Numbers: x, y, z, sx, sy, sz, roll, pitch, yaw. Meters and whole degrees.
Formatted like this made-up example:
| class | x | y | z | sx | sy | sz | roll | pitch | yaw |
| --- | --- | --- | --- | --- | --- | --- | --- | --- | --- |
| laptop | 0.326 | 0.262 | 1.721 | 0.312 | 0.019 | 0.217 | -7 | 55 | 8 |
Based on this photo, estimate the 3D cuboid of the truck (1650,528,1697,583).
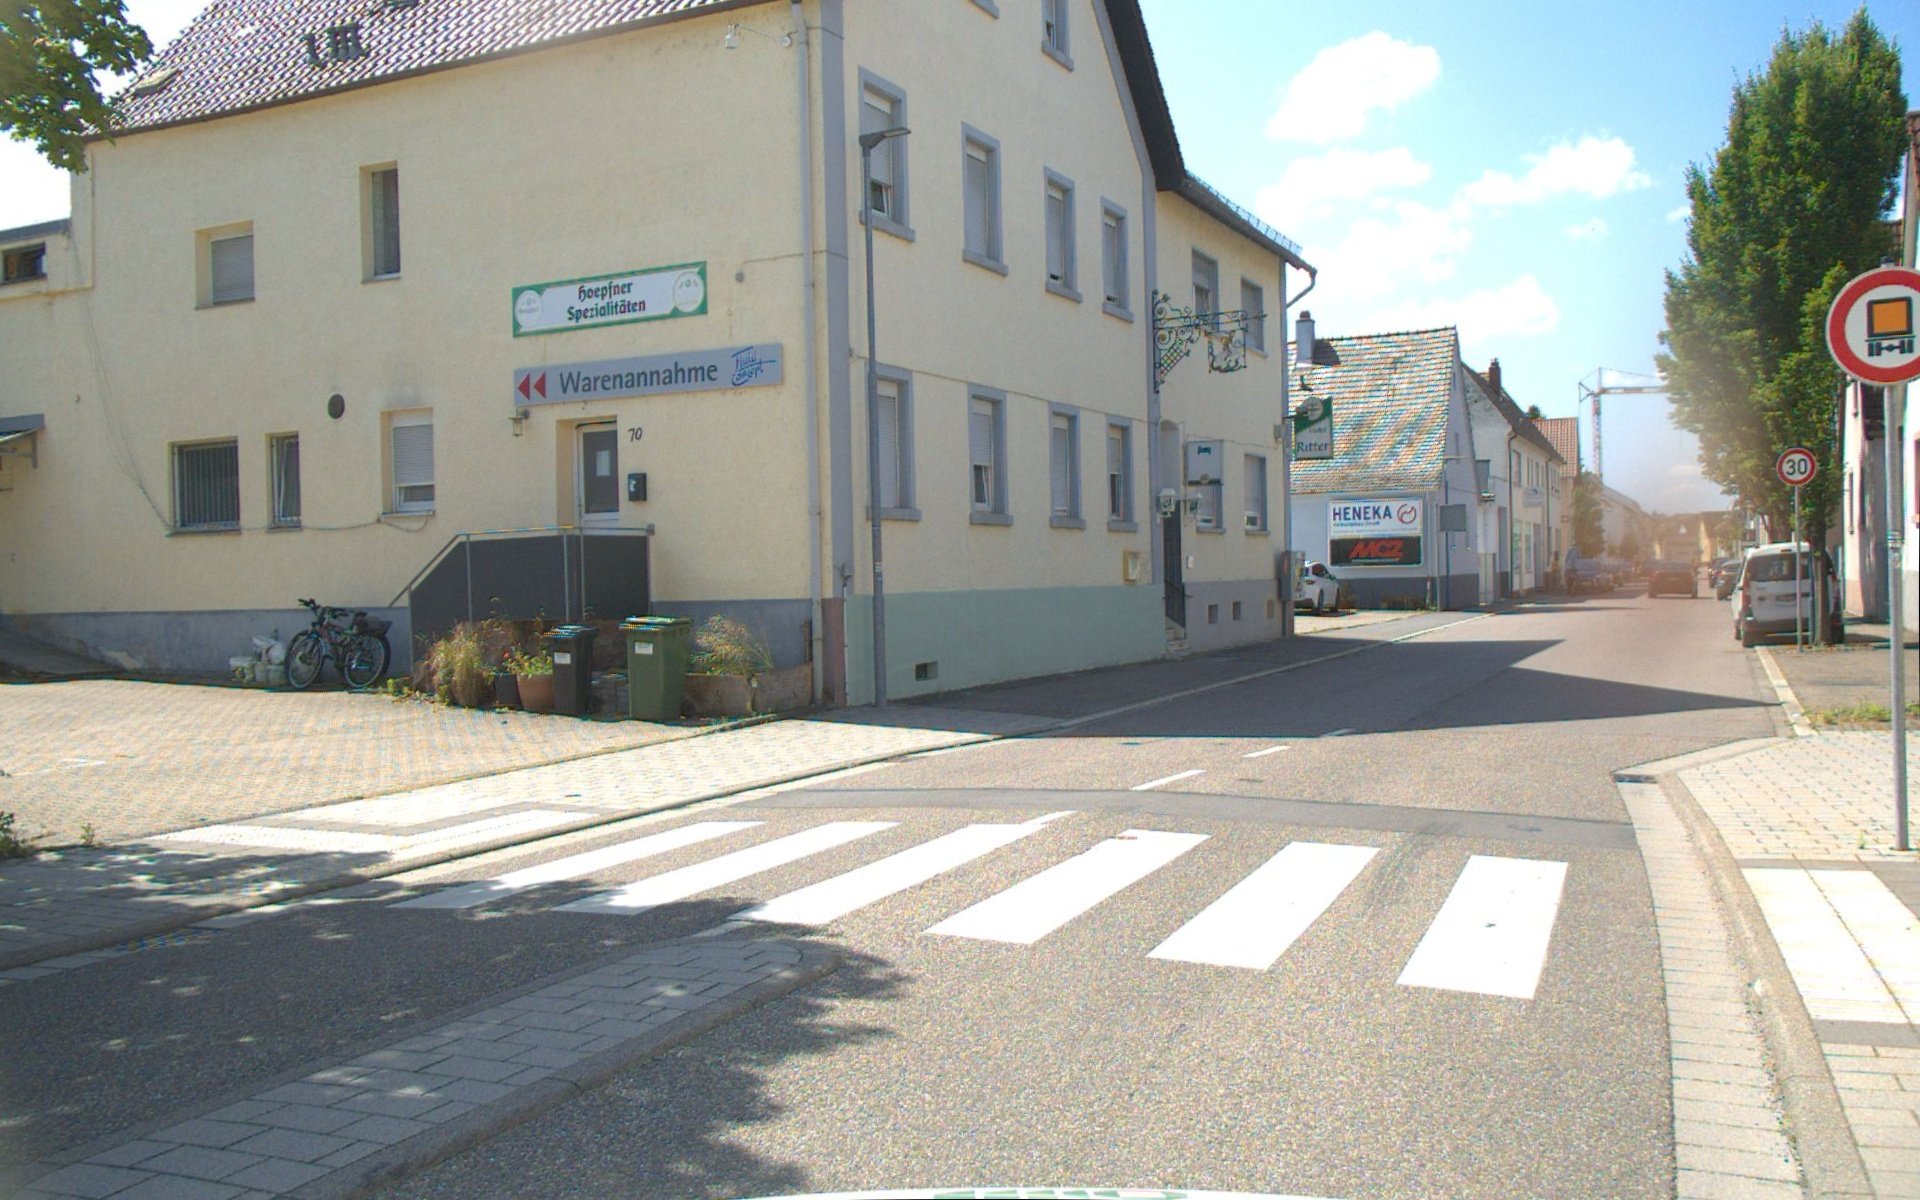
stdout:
| class | x | y | z | sx | sy | sz | roll | pitch | yaw |
| --- | --- | --- | --- | --- | --- | --- | --- | --- | --- |
| truck | 57.854 | -3.576 | 134.082 | 3.083 | 4.324 | 9.295 | 1 | 1 | 26 |

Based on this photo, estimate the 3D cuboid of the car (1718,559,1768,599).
| class | x | y | z | sx | sy | sz | roll | pitch | yaw |
| --- | --- | --- | --- | --- | --- | --- | --- | --- | --- |
| car | 30.677 | -0.834 | 64.754 | 1.686 | 1.487 | 4.153 | 0 | 1 | 26 |

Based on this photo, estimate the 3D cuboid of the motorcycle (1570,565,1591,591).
| class | x | y | z | sx | sy | sz | roll | pitch | yaw |
| --- | --- | --- | --- | --- | --- | --- | --- | --- | --- |
| motorcycle | 28.901 | -1.018 | 77.007 | 0.829 | 1.190 | 2.468 | 1 | 1 | 23 |

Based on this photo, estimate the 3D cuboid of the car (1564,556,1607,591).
| class | x | y | z | sx | sy | sz | roll | pitch | yaw |
| --- | --- | --- | --- | --- | --- | --- | --- | --- | --- |
| car | 30.468 | -1.292 | 80.499 | 1.773 | 1.616 | 3.999 | 0 | 1 | 24 |

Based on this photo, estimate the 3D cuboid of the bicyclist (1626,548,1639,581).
| class | x | y | z | sx | sy | sz | roll | pitch | yaw |
| --- | --- | --- | --- | --- | --- | --- | --- | --- | --- |
| bicyclist | 43.524 | -2.297 | 107.103 | 0.725 | 2.095 | 0.844 | 1 | 1 | 24 |

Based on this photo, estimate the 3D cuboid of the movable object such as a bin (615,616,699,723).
| class | x | y | z | sx | sy | sz | roll | pitch | yaw |
| --- | --- | --- | --- | --- | --- | --- | --- | --- | --- |
| movable object such as a bin | -3.224 | 0.731 | 17.621 | 0.588 | 1.097 | 0.658 | -1 | 1 | 27 |

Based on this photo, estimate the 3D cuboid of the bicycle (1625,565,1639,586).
| class | x | y | z | sx | sy | sz | roll | pitch | yaw |
| --- | --- | --- | --- | --- | --- | --- | --- | --- | --- |
| bicycle | 43.504 | -1.595 | 107.090 | 0.736 | 1.330 | 2.684 | 1 | 1 | 24 |

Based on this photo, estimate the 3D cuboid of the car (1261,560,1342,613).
| class | x | y | z | sx | sy | sz | roll | pitch | yaw |
| --- | --- | --- | --- | --- | --- | --- | --- | --- | --- |
| car | 10.690 | -0.468 | 51.537 | 1.685 | 1.583 | 4.198 | 1 | 1 | 23 |

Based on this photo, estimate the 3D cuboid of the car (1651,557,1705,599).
| class | x | y | z | sx | sy | sz | roll | pitch | yaw |
| --- | --- | --- | --- | --- | --- | --- | --- | --- | --- |
| car | 29.271 | -0.916 | 67.347 | 1.864 | 1.591 | 4.473 | 0 | 1 | 26 |

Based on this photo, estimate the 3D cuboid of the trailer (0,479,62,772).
| class | x | y | z | sx | sy | sz | roll | pitch | yaw |
| --- | --- | --- | --- | --- | --- | --- | --- | --- | --- |
| trailer | -9.352 | 0.242 | 12.266 | 1.842 | 2.376 | 4.521 | 1 | 2 | 25 |

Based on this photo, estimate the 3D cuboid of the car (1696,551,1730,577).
| class | x | y | z | sx | sy | sz | roll | pitch | yaw |
| --- | --- | --- | --- | --- | --- | --- | --- | --- | --- |
| car | 41.485 | -1.999 | 91.119 | 1.685 | 1.379 | 4.154 | 0 | 1 | 25 |

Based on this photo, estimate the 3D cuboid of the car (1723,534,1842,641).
| class | x | y | z | sx | sy | sz | roll | pitch | yaw |
| --- | --- | --- | --- | --- | --- | --- | --- | --- | --- |
| car | 15.405 | -0.262 | 31.146 | 1.684 | 1.821 | 4.143 | -3 | 0 | 23 |

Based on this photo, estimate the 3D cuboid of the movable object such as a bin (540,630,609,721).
| class | x | y | z | sx | sy | sz | roll | pitch | yaw |
| --- | --- | --- | --- | --- | --- | --- | --- | --- | --- |
| movable object such as a bin | -4.176 | 0.816 | 17.945 | 0.470 | 0.944 | 0.546 | -1 | 1 | 27 |

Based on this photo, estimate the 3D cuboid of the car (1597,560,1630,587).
| class | x | y | z | sx | sy | sz | roll | pitch | yaw |
| --- | --- | --- | --- | --- | --- | --- | --- | --- | --- |
| car | 40.681 | -1.645 | 102.928 | 1.773 | 1.616 | 3.999 | 0 | 1 | 24 |

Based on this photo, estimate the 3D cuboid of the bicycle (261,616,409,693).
| class | x | y | z | sx | sy | sz | roll | pitch | yaw |
| --- | --- | --- | --- | --- | --- | --- | --- | --- | --- |
| bicycle | -8.074 | 0.706 | 21.327 | 2.129 | 0.929 | 0.541 | -2 | 1 | 30 |
